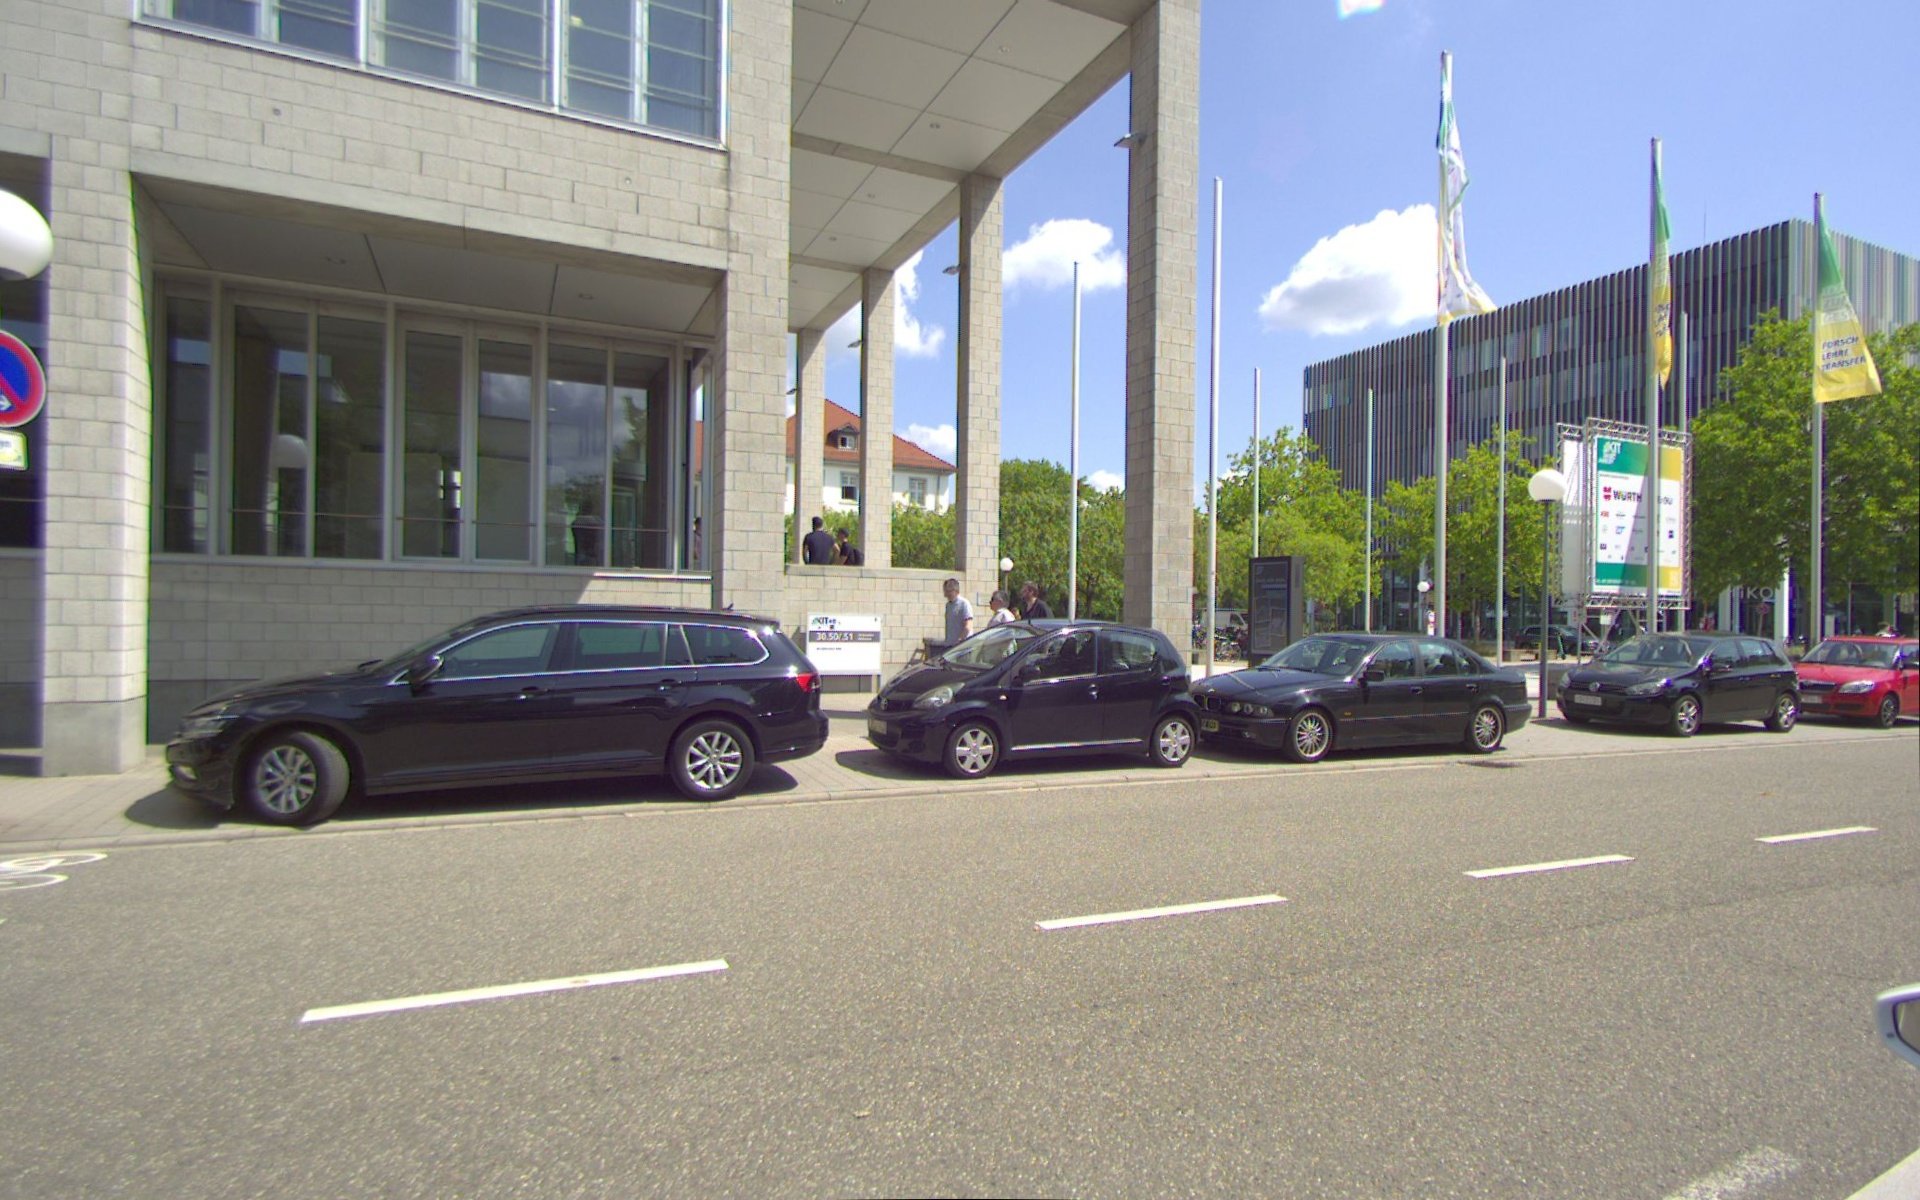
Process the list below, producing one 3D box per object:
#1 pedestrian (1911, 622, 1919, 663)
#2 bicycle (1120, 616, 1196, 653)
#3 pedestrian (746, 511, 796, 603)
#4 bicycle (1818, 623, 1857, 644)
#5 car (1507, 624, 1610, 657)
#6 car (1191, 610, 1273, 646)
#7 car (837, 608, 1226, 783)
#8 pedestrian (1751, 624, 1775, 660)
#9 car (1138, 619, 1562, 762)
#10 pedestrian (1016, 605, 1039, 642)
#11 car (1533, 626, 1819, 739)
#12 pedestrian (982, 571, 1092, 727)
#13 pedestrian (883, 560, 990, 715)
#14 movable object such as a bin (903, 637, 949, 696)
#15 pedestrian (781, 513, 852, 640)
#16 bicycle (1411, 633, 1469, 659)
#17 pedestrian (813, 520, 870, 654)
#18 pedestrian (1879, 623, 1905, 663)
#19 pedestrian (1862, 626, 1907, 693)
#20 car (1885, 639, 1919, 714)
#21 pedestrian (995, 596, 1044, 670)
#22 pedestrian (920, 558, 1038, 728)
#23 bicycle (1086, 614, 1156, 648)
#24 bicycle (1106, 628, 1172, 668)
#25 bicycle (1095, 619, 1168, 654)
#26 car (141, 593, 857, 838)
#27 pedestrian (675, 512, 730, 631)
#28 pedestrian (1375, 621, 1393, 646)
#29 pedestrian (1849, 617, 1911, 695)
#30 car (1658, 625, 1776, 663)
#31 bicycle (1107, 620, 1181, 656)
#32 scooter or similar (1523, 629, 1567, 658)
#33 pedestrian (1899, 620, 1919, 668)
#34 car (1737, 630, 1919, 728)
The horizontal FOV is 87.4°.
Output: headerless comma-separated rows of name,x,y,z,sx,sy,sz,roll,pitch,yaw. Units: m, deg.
pedestrian,62.675,2.769,65.245,0.957,2.599,1.014,1,0,22
bicycle,8.099,1.423,41.122,2.904,1.430,1.062,2,0,-17
pedestrian,-3.814,-0.847,20.245,0.752,1.780,0.731,1,-1,-34
bicycle,56.534,2.159,64.735,1.353,1.254,2.945,1,0,30
car,32.604,2.192,54.855,1.629,1.683,4.798,1,-1,-23
car,15.504,1.604,57.490,1.841,1.965,4.744,1,-1,-26
car,0.743,0.882,10.326,3.657,1.487,1.633,1,1,-26
pedestrian,58.771,3.097,73.534,1.001,2.599,0.970,1,0,-25
car,4.784,1.005,12.240,4.946,1.396,1.854,1,1,-24
pedestrian,4.200,1.450,62.431,1.022,2.229,1.158,0,-1,27
car,11.148,1.219,15.633,4.137,1.487,1.743,1,1,-24
pedestrian,1.054,0.659,13.870,1.151,2.040,0.980,1,-1,-29
pedestrian,-0.331,0.513,13.968,1.151,2.040,0.980,1,-1,-29
movable object such as a bin,-0.575,1.105,16.811,0.587,0.942,0.574,1,0,-25
pedestrian,-2.432,-0.376,16.946,0.898,2.040,0.975,1,0,-25
bicycle,22.685,2.165,47.503,0.656,1.128,2.599,1,0,-26
pedestrian,-2.230,-0.227,18.909,0.748,2.454,0.735,0,-1,39
pedestrian,61.232,2.817,66.012,0.958,2.599,1.013,1,0,29
pedestrian,26.565,1.694,28.858,0.759,1.884,0.718,1,-1,-23
car,20.490,1.531,19.785,4.599,1.414,1.671,1,1,-25
pedestrian,1.690,0.936,28.516,0.976,2.040,1.052,1,-1,-28
pedestrian,0.235,0.533,12.758,1.151,2.040,0.980,1,-1,-29
bicycle,7.114,1.373,44.397,2.904,1.430,1.062,2,0,-17
bicycle,5.721,1.518,32.027,2.066,1.232,0.647,2,0,-25
bicycle,7.406,1.582,43.341,2.904,1.430,1.062,2,0,-17
car,-3.347,0.760,8.065,4.655,1.487,1.853,1,1,-26
pedestrian,-4.840,-0.525,18.908,0.789,2.174,0.705,1,0,2
pedestrian,38.381,3.036,90.966,1.113,2.205,0.970,1,0,-25
pedestrian,22.958,1.389,25.064,1.073,1.875,0.718,1,1,-22
car,35.970,2.071,47.865,1.629,1.683,4.272,0,-1,-23
bicycle,7.728,1.616,42.239,2.904,1.430,1.062,2,0,-17
scooter or similar,25.290,1.857,43.440,0.486,1.212,1.727,1,-1,-19
pedestrian,38.545,1.764,40.279,0.987,1.901,0.855,1,-1,-2
car,15.863,1.345,17.820,3.857,1.487,1.672,1,1,-25
